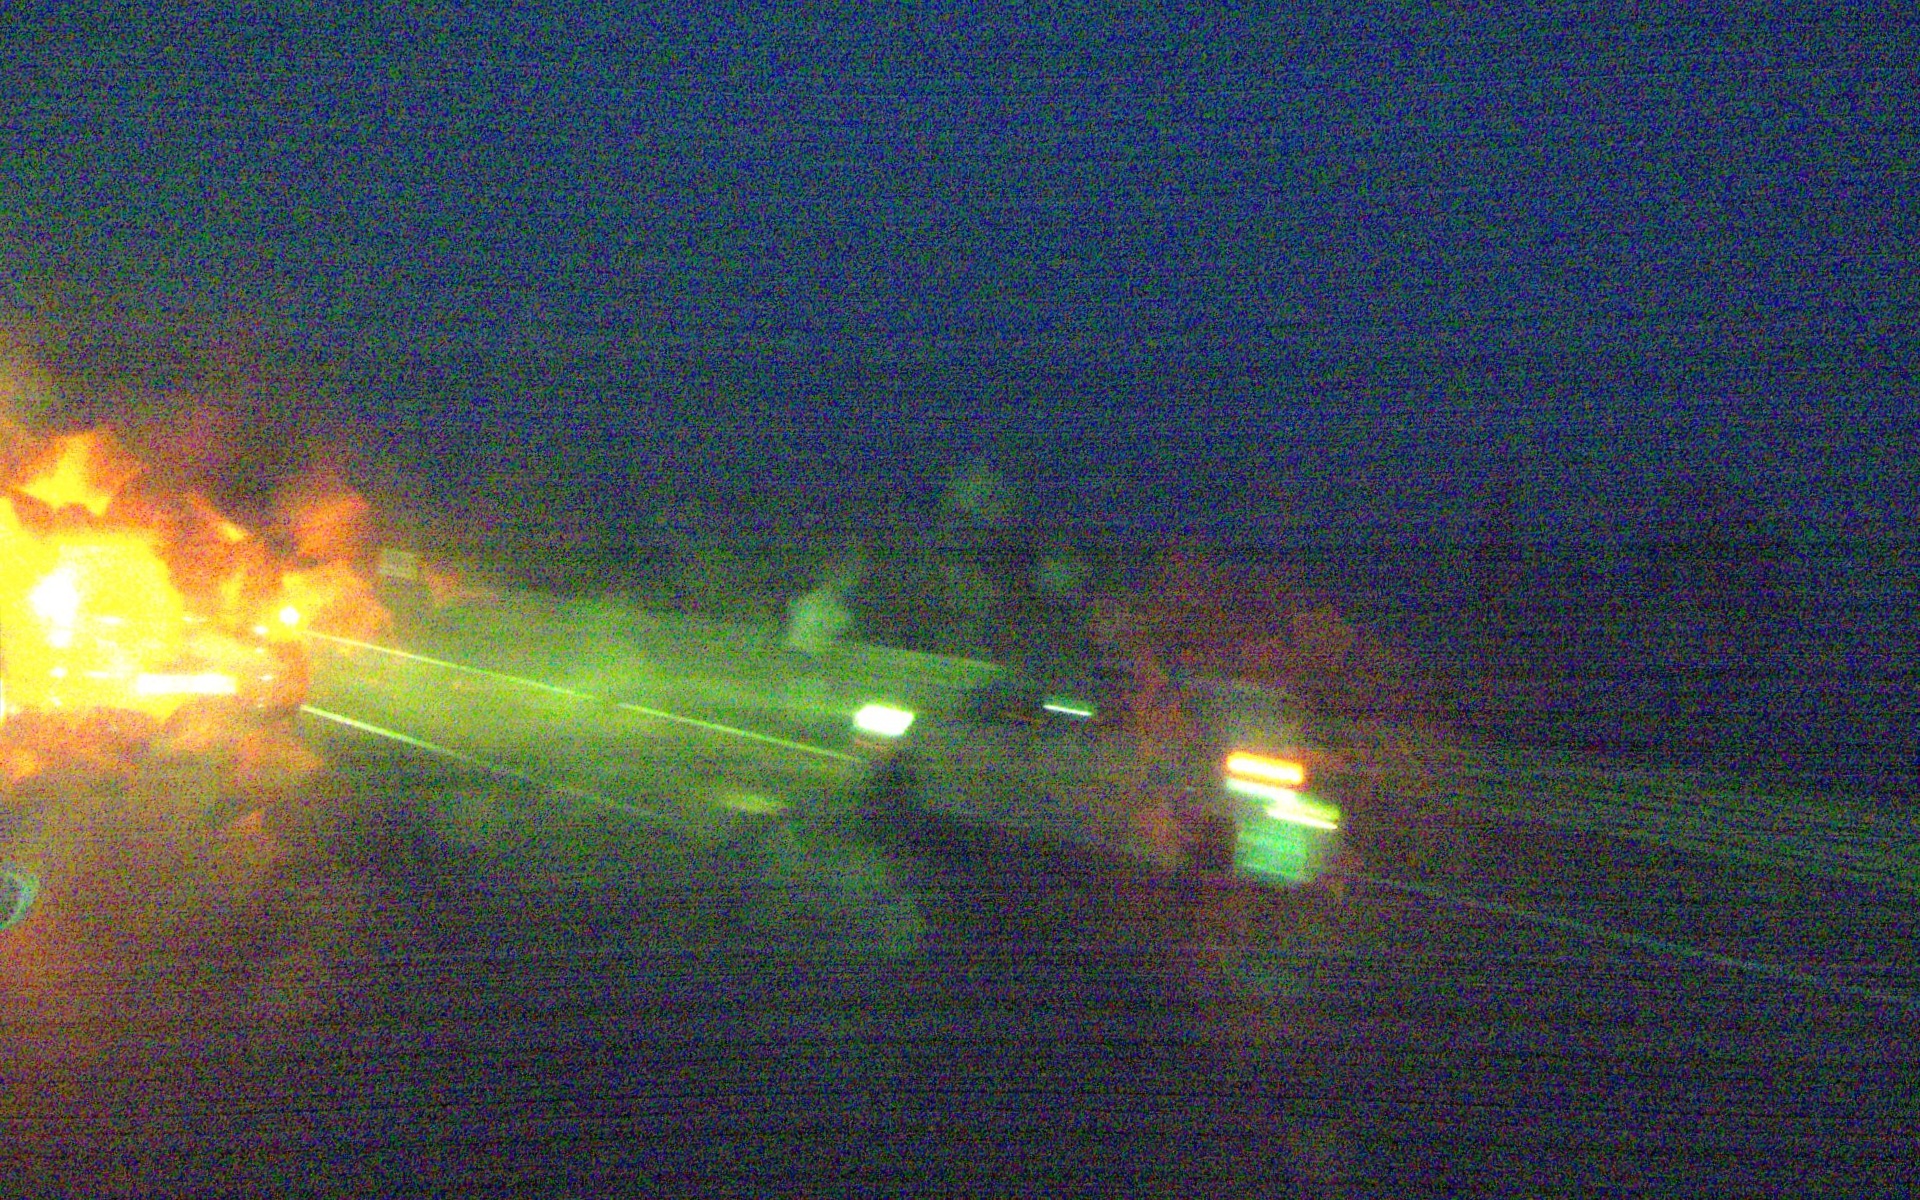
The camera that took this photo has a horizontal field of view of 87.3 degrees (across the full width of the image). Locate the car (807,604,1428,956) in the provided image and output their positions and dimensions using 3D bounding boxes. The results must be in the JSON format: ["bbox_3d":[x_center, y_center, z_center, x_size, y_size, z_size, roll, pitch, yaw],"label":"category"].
[{"bbox_3d":[1.042,1.053,7.206,3.945,1.521,1.642,7,0,30],"label":"car"}]

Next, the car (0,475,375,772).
[{"bbox_3d":[-6.426,0.017,7.317,4.419,1.594,1.743,6,-1,31],"label":"car"}]
